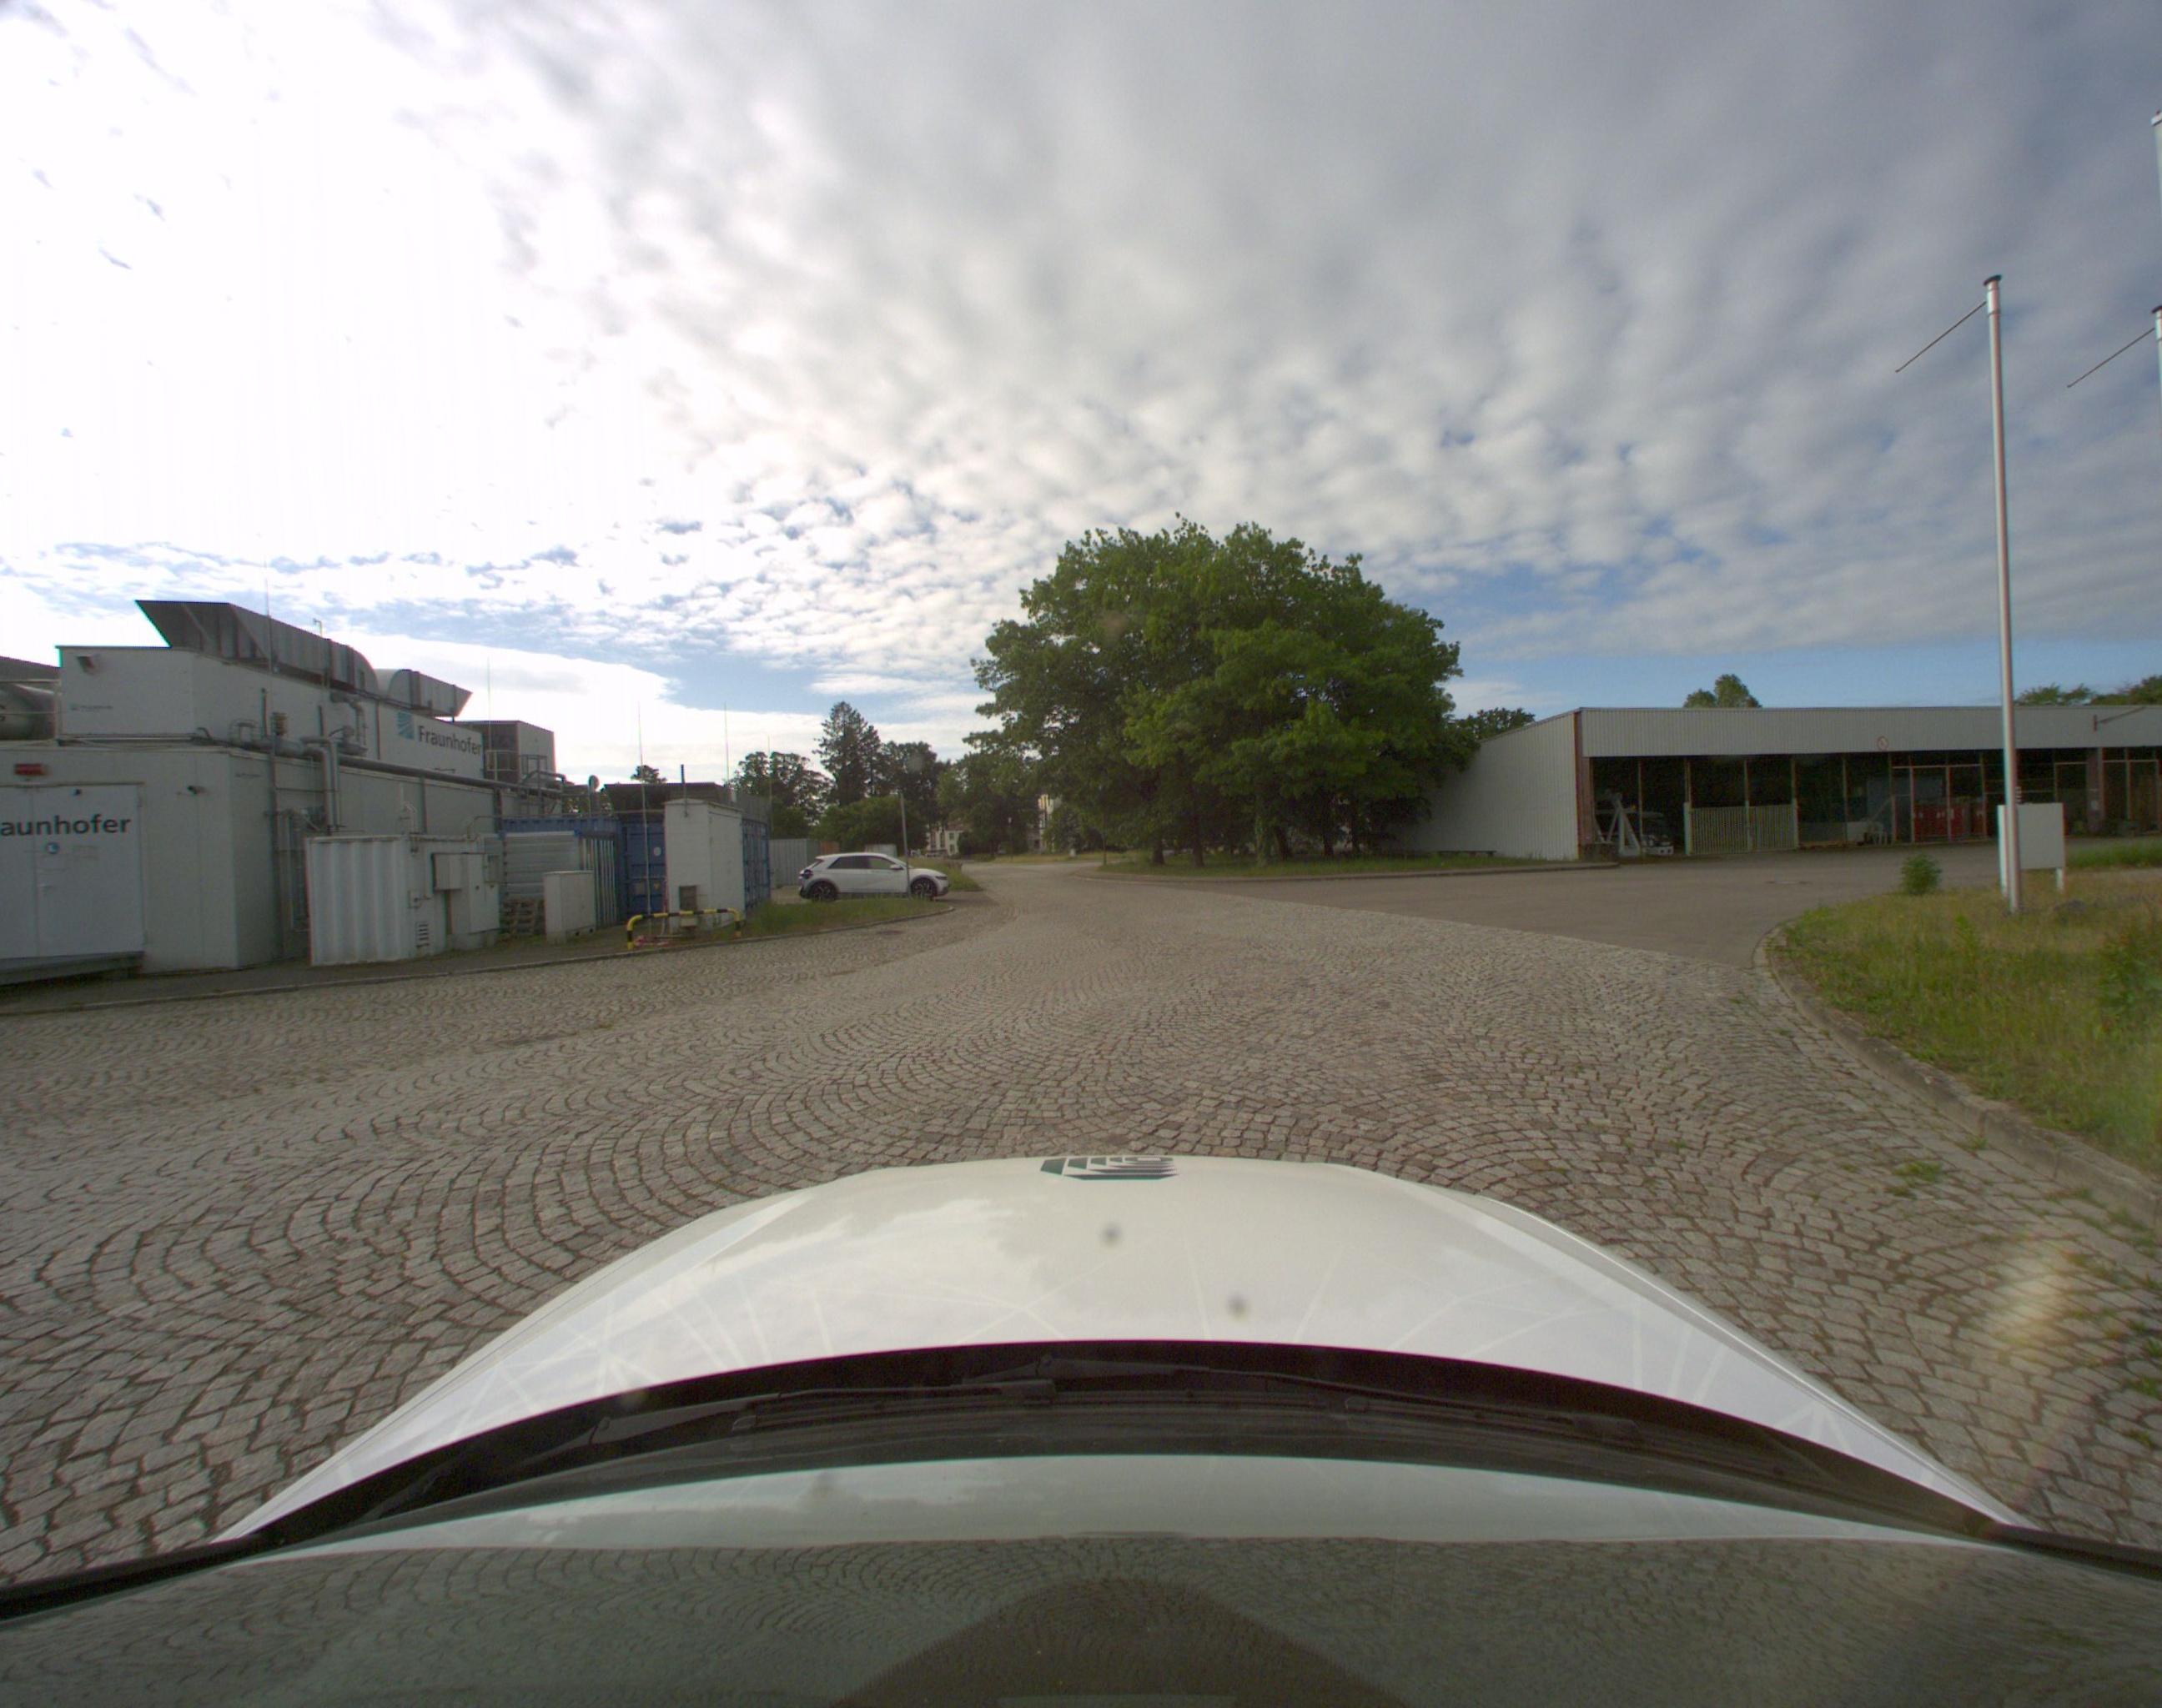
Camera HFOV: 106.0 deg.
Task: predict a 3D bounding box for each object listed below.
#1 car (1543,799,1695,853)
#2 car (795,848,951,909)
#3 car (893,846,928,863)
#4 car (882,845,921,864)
[{"bbox_3d":[22.793,-1.111,34.830,2.243,2.013,5.314,-3,0,-13],"label":"car"},{"bbox_3d":[-6.434,0.736,25.739,4.533,1.599,1.994,-3,0,-9],"label":"car"},{"bbox_3d":[-26.133,0.080,125.003,5.175,2.337,1.992,-3,0,-12],"label":"car"},{"bbox_3d":[-25.432,0.039,115.416,5.175,2.337,1.992,-3,0,-12],"label":"car"}]
